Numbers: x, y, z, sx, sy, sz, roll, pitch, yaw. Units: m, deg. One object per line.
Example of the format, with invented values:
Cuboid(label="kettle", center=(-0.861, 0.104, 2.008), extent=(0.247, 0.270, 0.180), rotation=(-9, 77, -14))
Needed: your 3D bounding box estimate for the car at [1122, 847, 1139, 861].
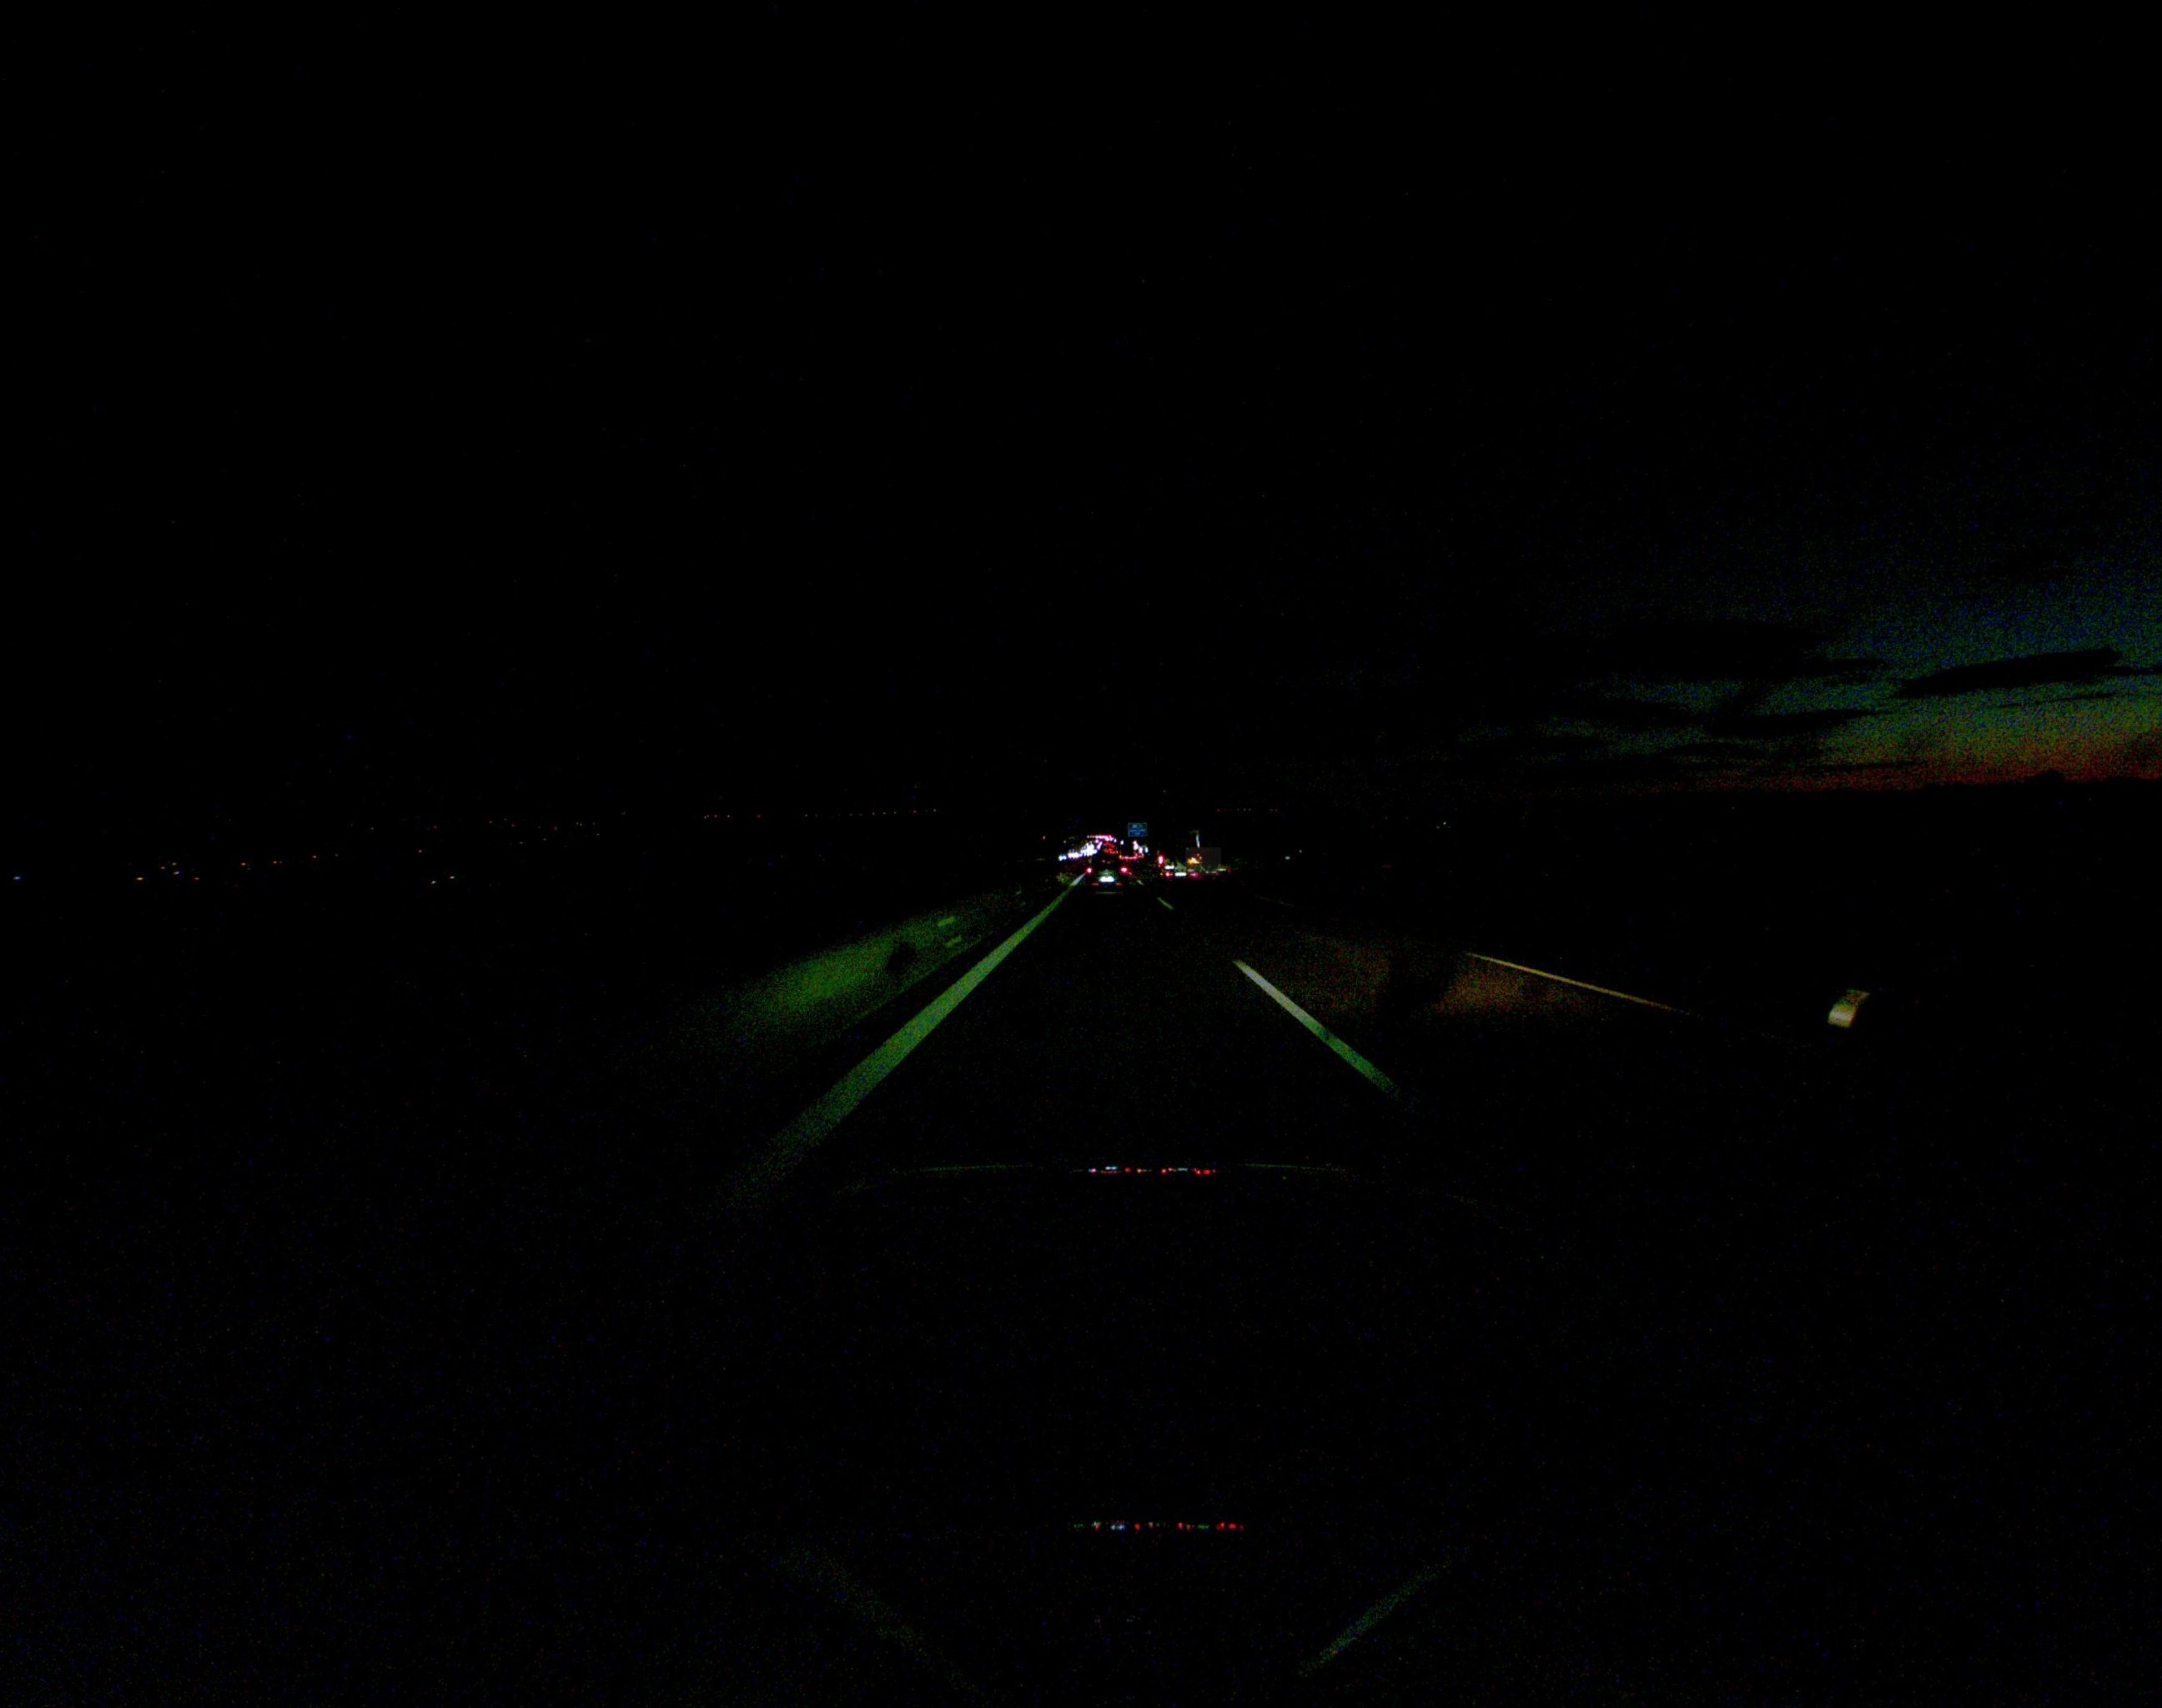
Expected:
Cuboid(label="car", center=(7.183, 0.020, 118.839), extent=(2.342, 1.914, 4.725), rotation=(-2, 0, 2))

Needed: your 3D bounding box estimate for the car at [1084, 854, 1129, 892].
Cuboid(label="car", center=(1.113, 0.784, 35.243), extent=(1.787, 1.469, 3.775), rotation=(-1, 0, 2))

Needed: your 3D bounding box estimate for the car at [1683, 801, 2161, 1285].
Cuboid(label="car", center=(4.359, 0.598, 2.555), extent=(1.640, 1.596, 4.511), rotation=(-2, 0, 1))

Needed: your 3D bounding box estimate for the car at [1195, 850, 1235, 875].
Cuboid(label="car", center=(9.150, 0.545, 56.012), extent=(2.154, 1.563, 4.725), rotation=(-2, 0, 2))

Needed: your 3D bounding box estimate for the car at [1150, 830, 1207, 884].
Cuboid(label="car", center=(4.960, 0.116, 42.246), extent=(2.342, 2.535, 5.704), rotation=(-2, 0, 2))

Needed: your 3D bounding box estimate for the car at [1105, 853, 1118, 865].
Cuboid(label="car", center=(4.092, 0.692, 109.634), extent=(1.738, 1.440, 4.370), rotation=(-2, 0, 2))

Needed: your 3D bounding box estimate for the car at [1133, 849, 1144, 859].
Cuboid(label="car", center=(12.785, -0.049, 182.051), extent=(2.342, 2.075, 4.725), rotation=(-2, 0, 2))

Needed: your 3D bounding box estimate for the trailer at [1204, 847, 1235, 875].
Cuboid(label="trailer", center=(8.898, 0.458, 52.359), extent=(1.560, 1.693, 2.822), rotation=(-2, 0, 1))

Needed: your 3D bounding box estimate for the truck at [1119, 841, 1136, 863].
Cuboid(label="truck", center=(8.915, -0.340, 157.138), extent=(2.772, 3.955, 7.993), rotation=(-2, 0, 0))
